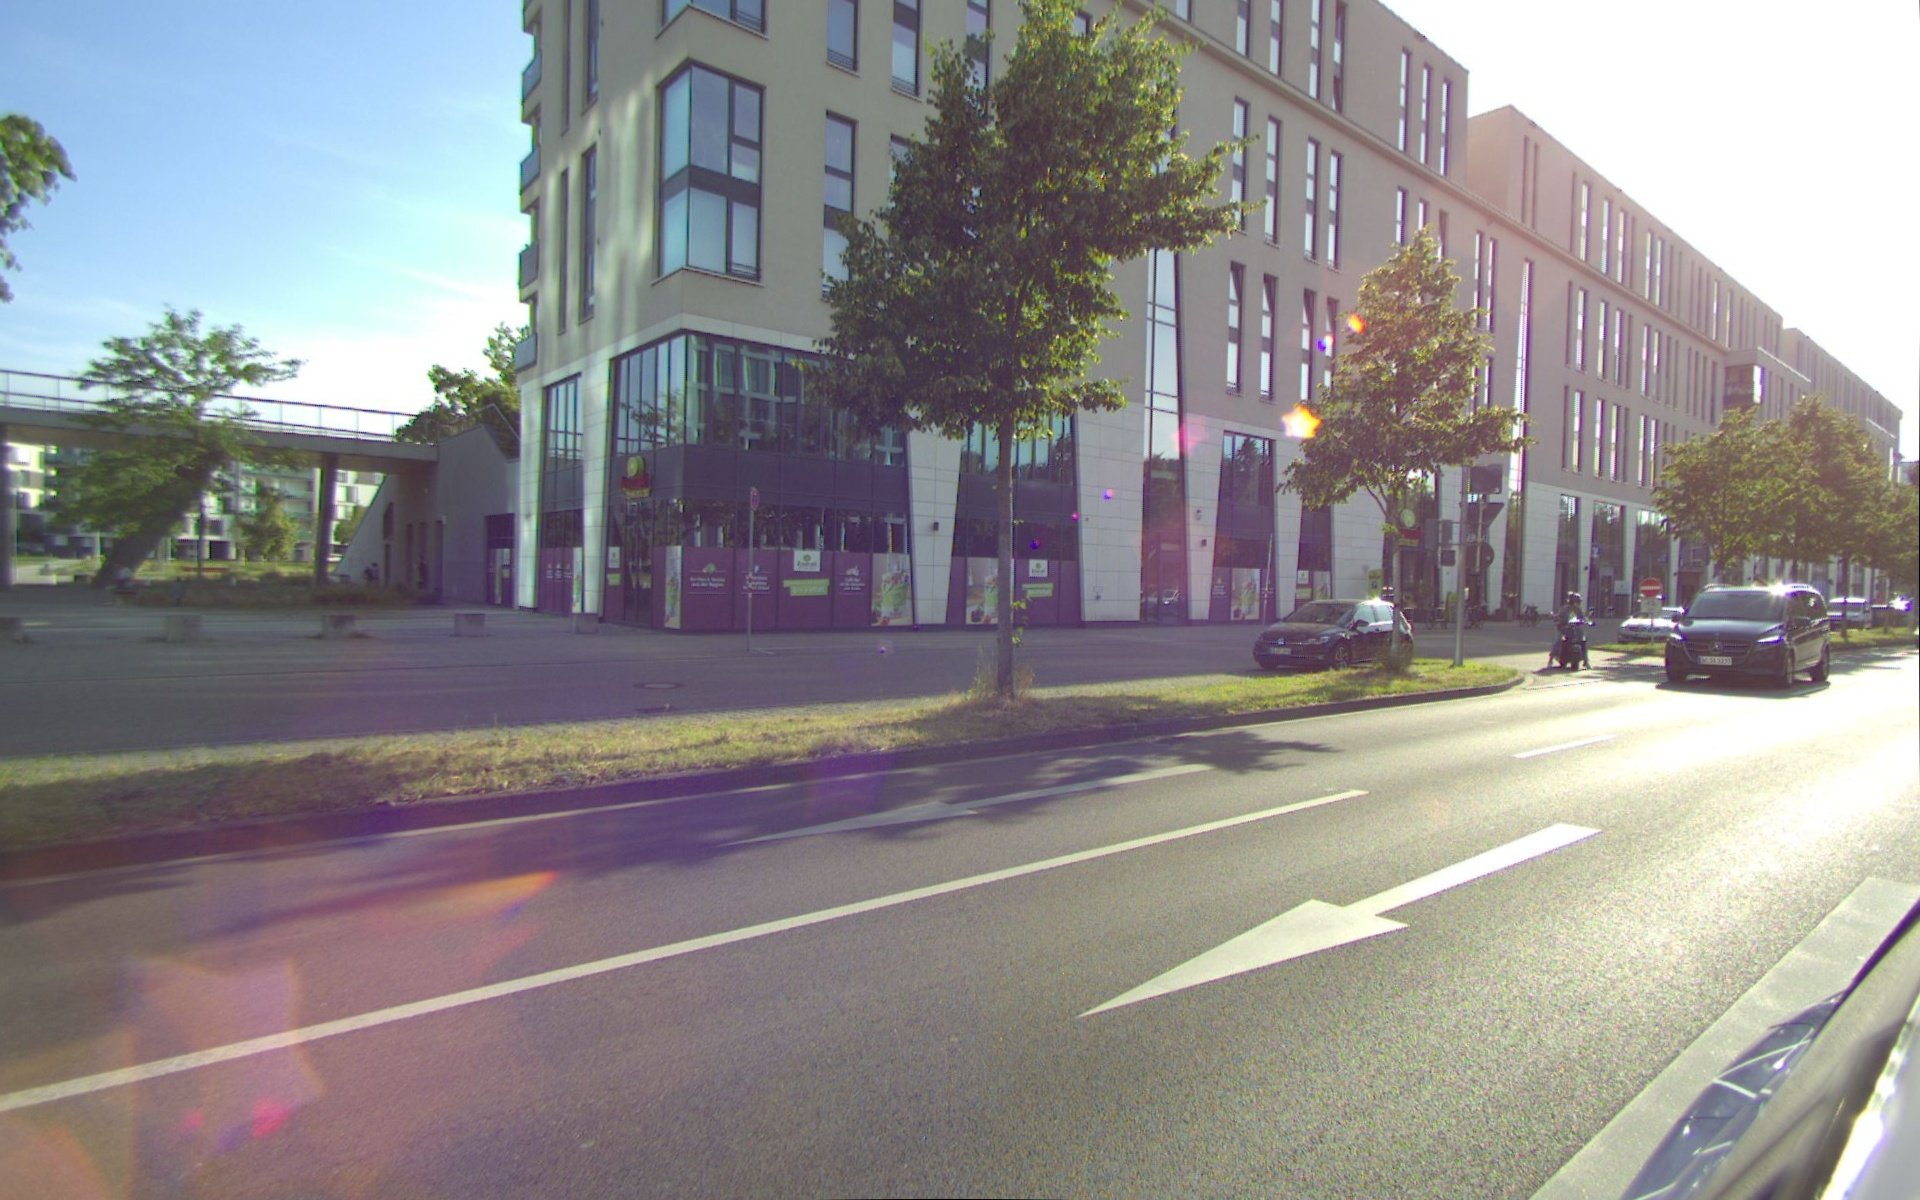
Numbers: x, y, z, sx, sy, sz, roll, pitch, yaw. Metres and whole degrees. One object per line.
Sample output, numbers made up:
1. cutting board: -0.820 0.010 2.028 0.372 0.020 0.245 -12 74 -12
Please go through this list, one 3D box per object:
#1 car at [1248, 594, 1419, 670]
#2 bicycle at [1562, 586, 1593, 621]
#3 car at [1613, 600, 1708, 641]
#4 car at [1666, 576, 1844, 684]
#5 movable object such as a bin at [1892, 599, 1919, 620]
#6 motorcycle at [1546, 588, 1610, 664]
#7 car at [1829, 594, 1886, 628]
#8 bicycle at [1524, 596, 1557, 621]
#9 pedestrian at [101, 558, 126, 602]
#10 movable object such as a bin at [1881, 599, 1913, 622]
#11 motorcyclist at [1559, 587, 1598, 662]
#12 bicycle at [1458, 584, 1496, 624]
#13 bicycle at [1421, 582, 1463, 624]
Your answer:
1. car: 7.708 0.582 20.708 4.087 1.388 1.608 -1 0 -43
2. bicycle: 29.234 0.151 47.935 2.173 1.639 0.556 -1 0 -39
3. car: 23.678 0.652 34.172 3.837 1.258 1.711 -1 0 -41
4. car: 15.760 0.506 19.976 4.694 1.890 1.863 -1 0 -40
5. movable object such as a bin: 57.737 0.555 61.669 1.171 1.252 1.279 0 0 -43
6. motorcycle: 13.969 0.551 22.862 1.977 1.638 0.702 -1 0 -42
7. car: 48.595 0.576 54.782 4.222 1.733 1.830 -1 0 -42
8. bicycle: 25.924 0.373 45.199 1.870 1.097 0.635 0 2 -39
9. pedestrian: -25.702 -0.603 30.723 0.571 1.310 0.597 0 0 -39
10. movable object such as a bin: 55.643 0.619 60.101 1.158 1.307 1.279 0 0 -43
11. motorcyclist: 13.985 0.537 22.876 0.411 1.660 0.624 0 2 -43
12. bicycle: 20.943 0.143 40.960 2.173 1.587 0.556 -1 0 -39
13. bicycle: 18.798 0.101 39.430 2.235 1.590 0.556 -1 0 -39
